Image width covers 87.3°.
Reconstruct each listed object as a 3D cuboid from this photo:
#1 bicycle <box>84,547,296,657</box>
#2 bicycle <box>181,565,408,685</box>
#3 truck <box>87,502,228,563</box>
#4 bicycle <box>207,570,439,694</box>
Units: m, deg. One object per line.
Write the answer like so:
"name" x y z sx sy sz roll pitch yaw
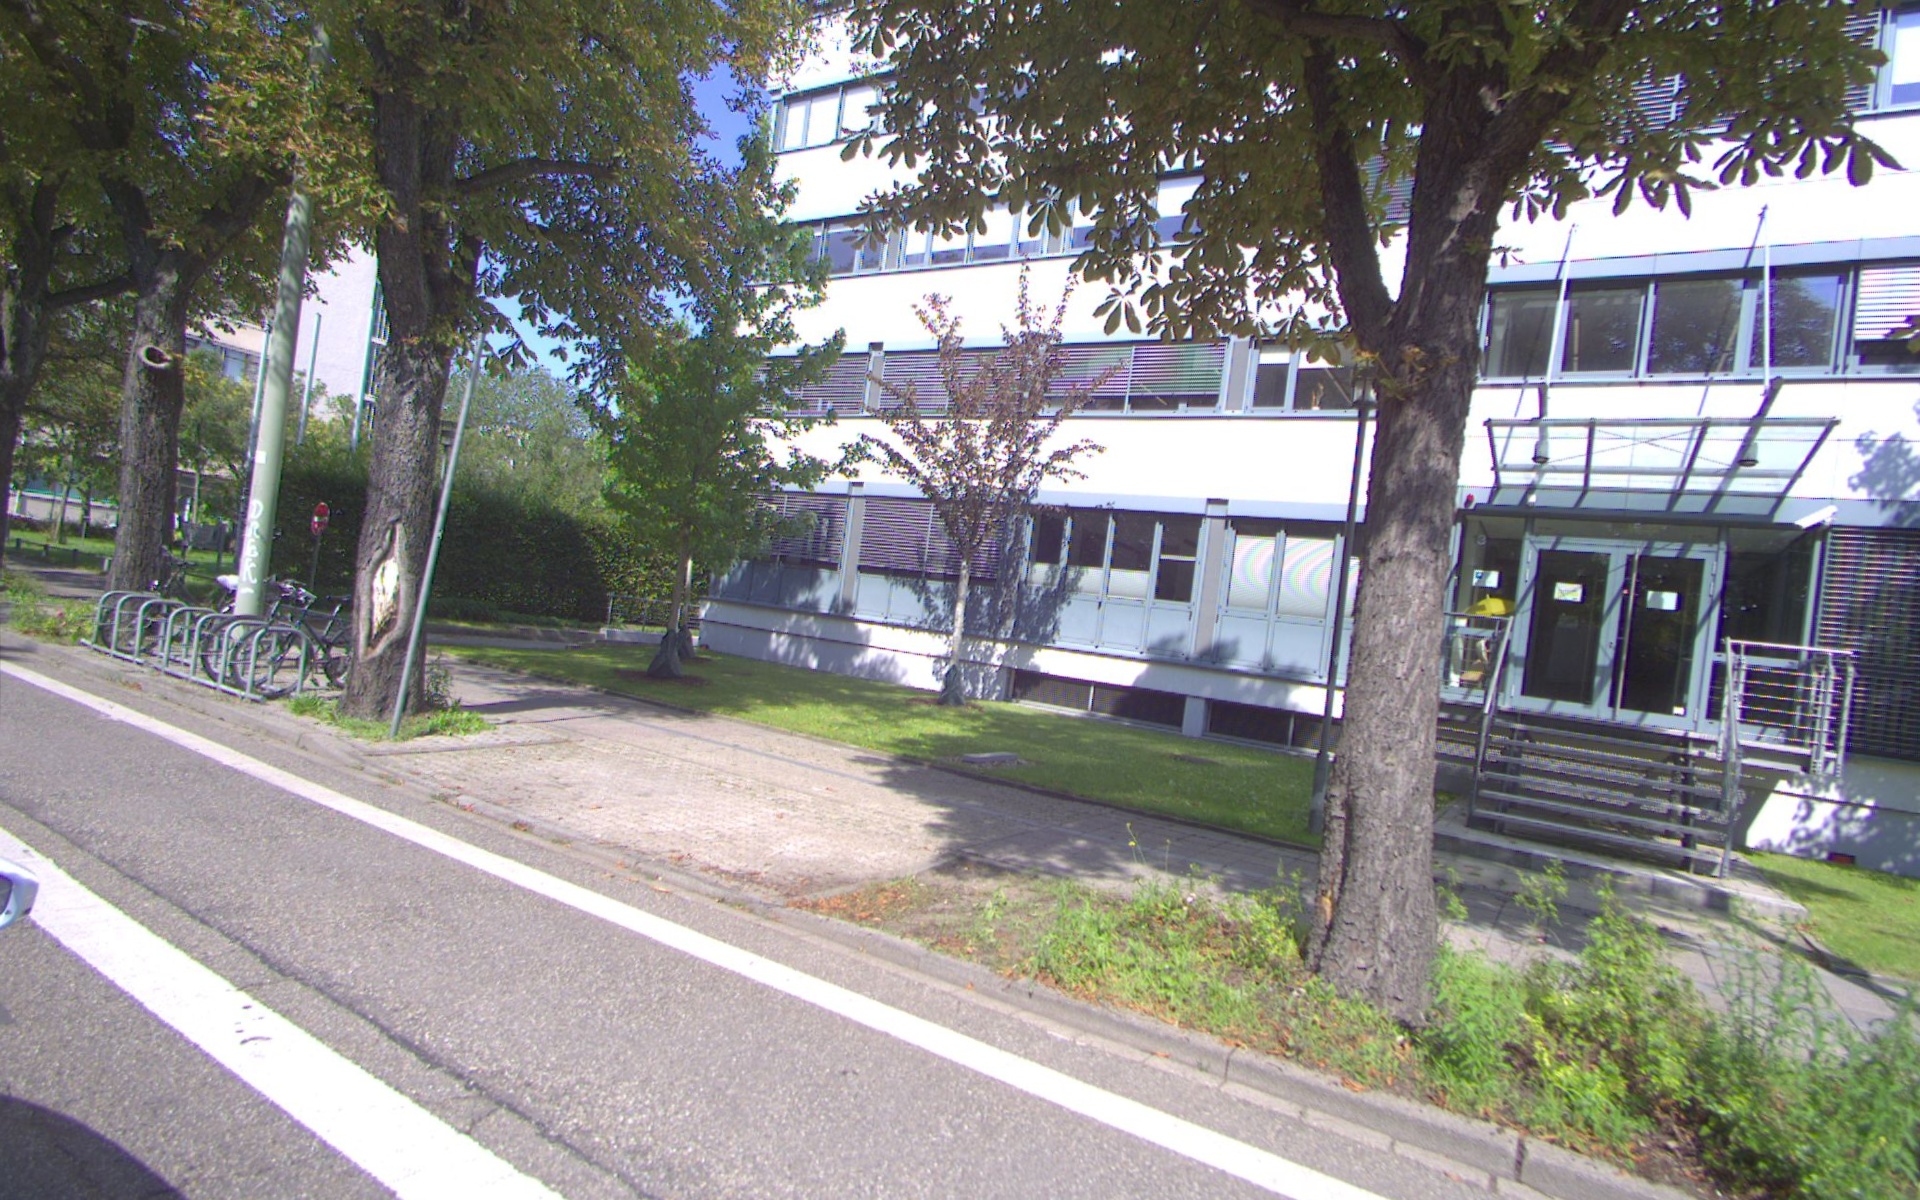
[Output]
"bicycle" -8.708 0.058 11.460 0.531 1.062 1.774 7 -1 31
"bicycle" -6.653 0.291 10.167 0.531 1.062 1.774 7 -1 31
"truck" -44.310 -3.689 55.696 2.262 2.352 5.516 7 -2 33
"bicycle" -6.117 0.349 9.771 0.531 1.062 1.774 7 -1 31
